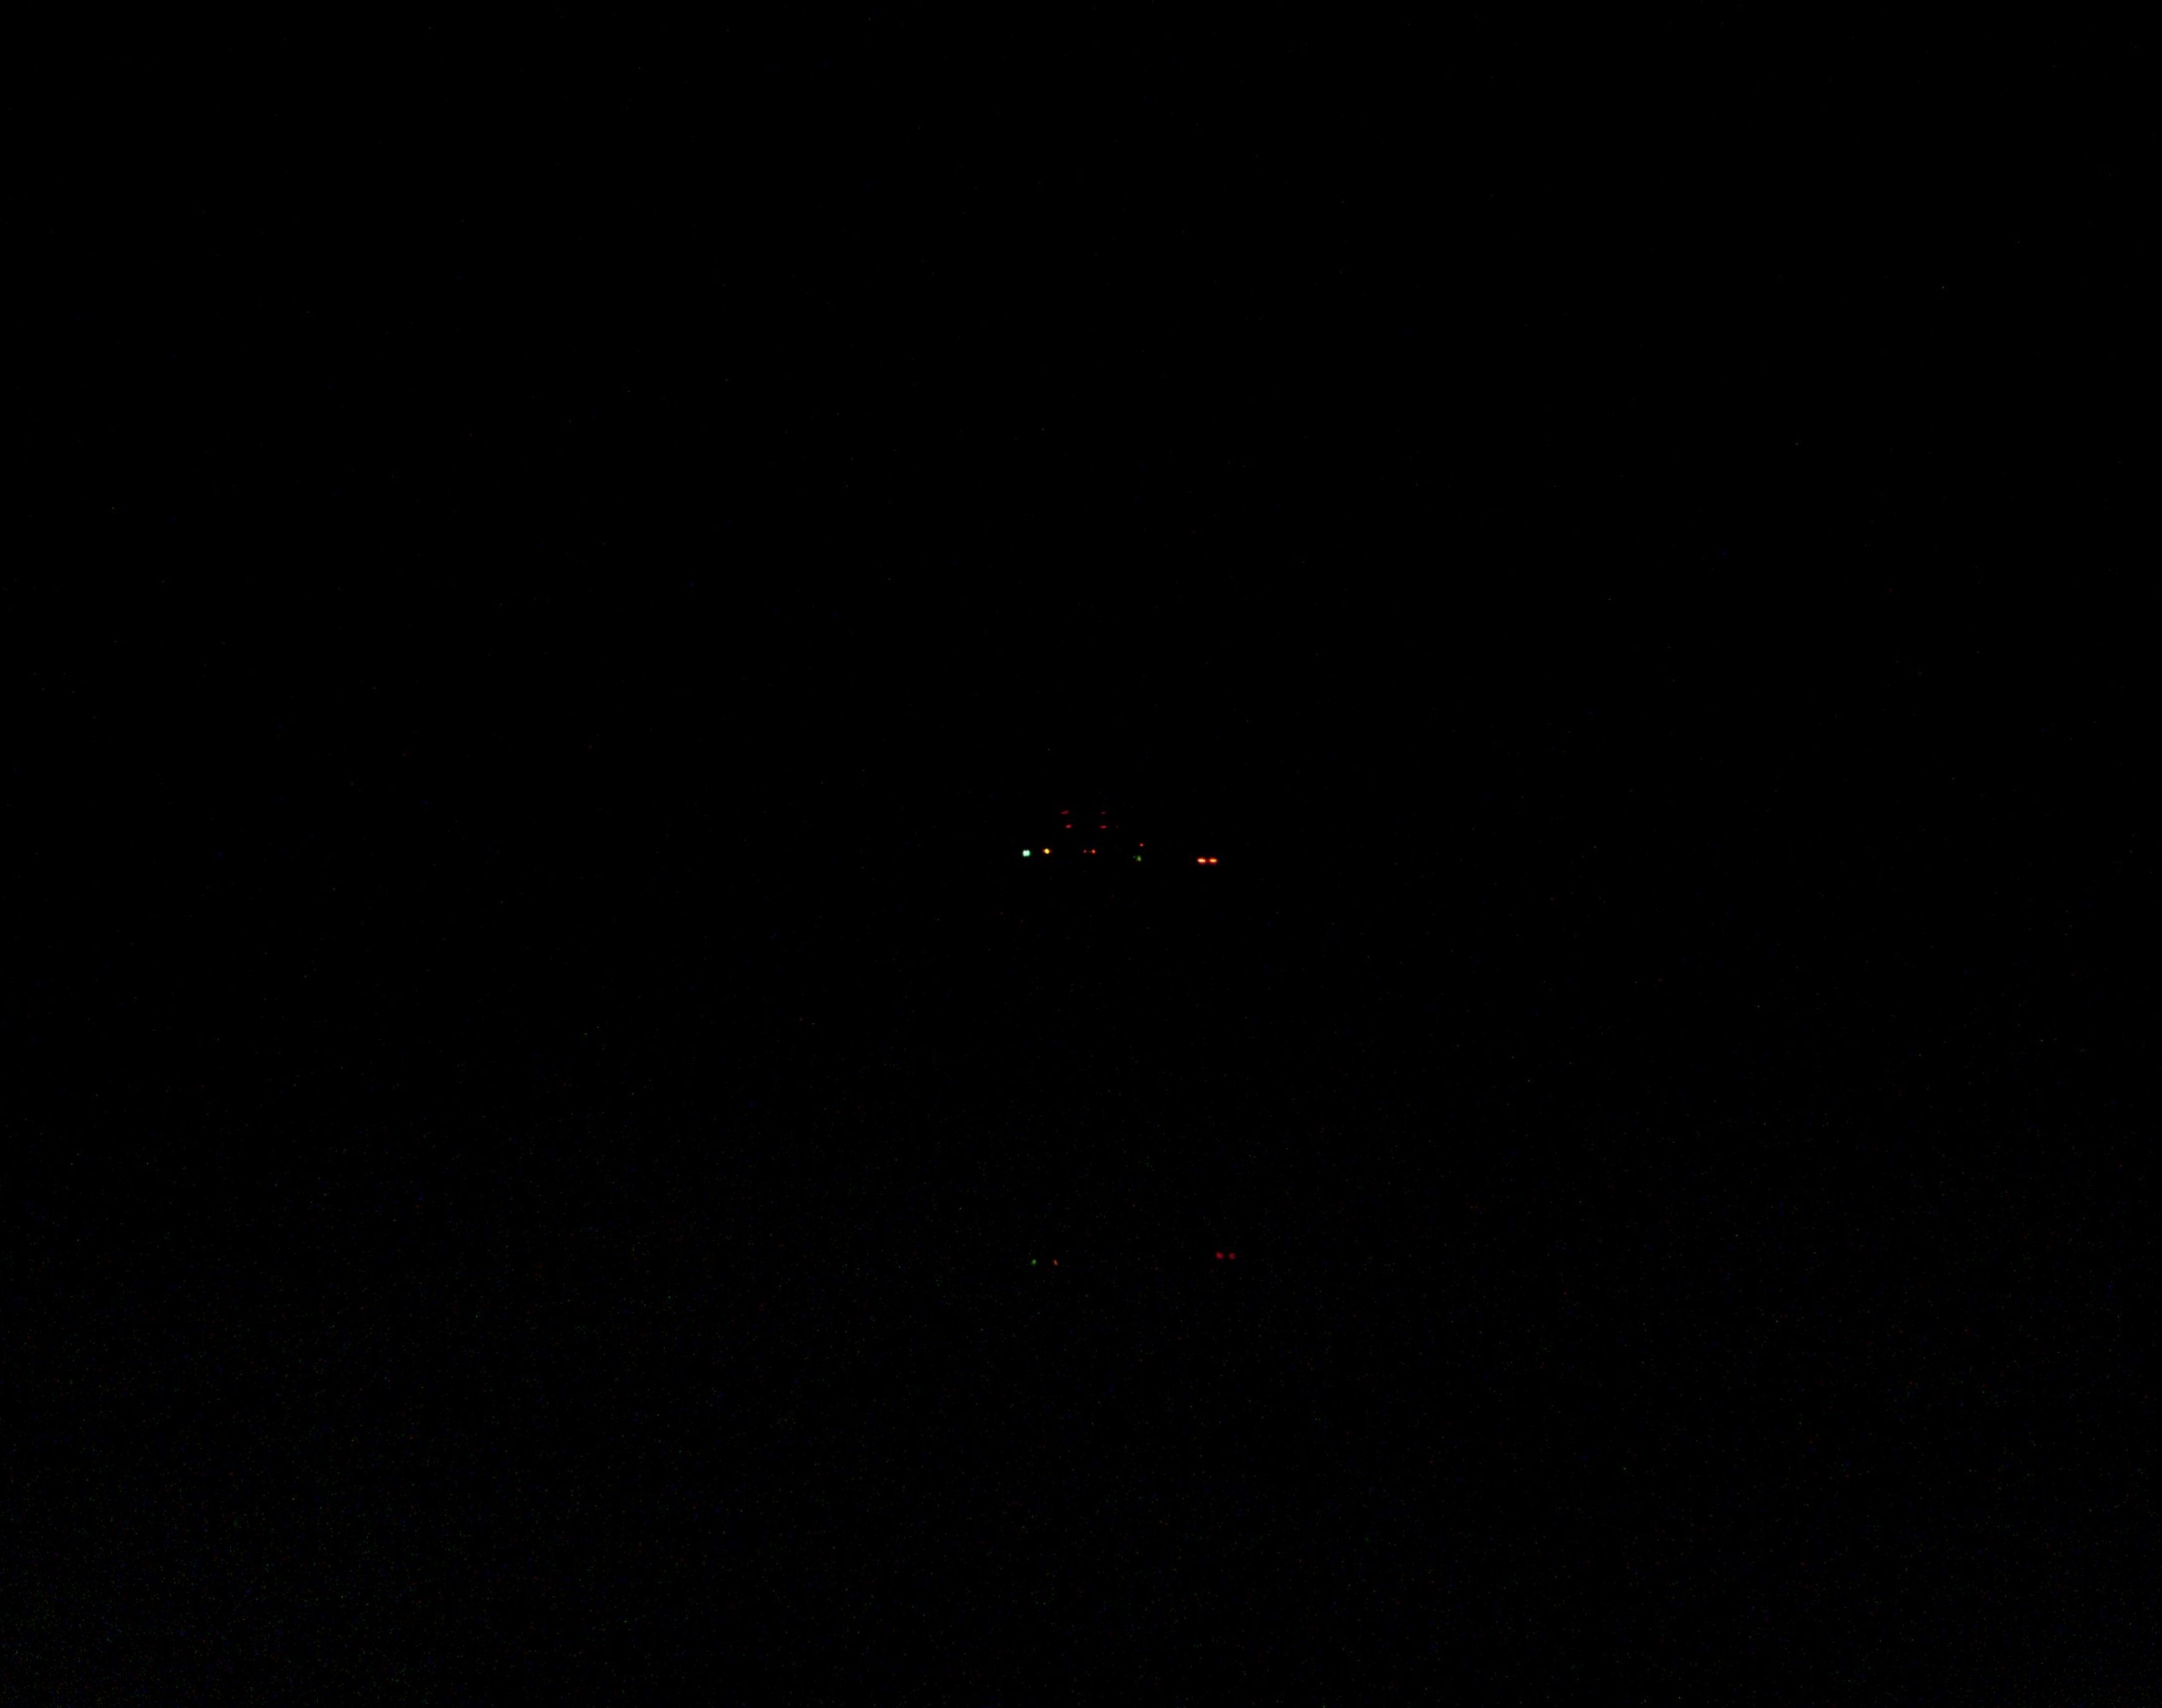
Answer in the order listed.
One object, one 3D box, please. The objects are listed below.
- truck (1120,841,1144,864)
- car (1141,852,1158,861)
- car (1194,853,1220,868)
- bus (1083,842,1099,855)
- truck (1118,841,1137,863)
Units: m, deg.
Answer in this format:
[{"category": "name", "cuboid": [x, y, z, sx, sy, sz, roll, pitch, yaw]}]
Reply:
[{"category": "truck", "cuboid": [9.253, -0.312, 139.541, 2.754, 4.103, 13.903, 0, 0, -4]}, {"category": "car", "cuboid": [9.895, 0.359, 110.677, 1.999, 1.264, 4.294, -1, 0, -1]}, {"category": "car", "cuboid": [13.454, 0.639, 81.638, 1.999, 1.548, 4.294, -1, 0, -1]}, {"category": "bus", "cuboid": [2.467, -1.454, 188.818, 2.794, 3.092, 12.511, 0, 0, -5]}, {"category": "truck", "cuboid": [8.815, -0.389, 145.640, 2.781, 4.119, 6.671, 0, 1, -4]}]
